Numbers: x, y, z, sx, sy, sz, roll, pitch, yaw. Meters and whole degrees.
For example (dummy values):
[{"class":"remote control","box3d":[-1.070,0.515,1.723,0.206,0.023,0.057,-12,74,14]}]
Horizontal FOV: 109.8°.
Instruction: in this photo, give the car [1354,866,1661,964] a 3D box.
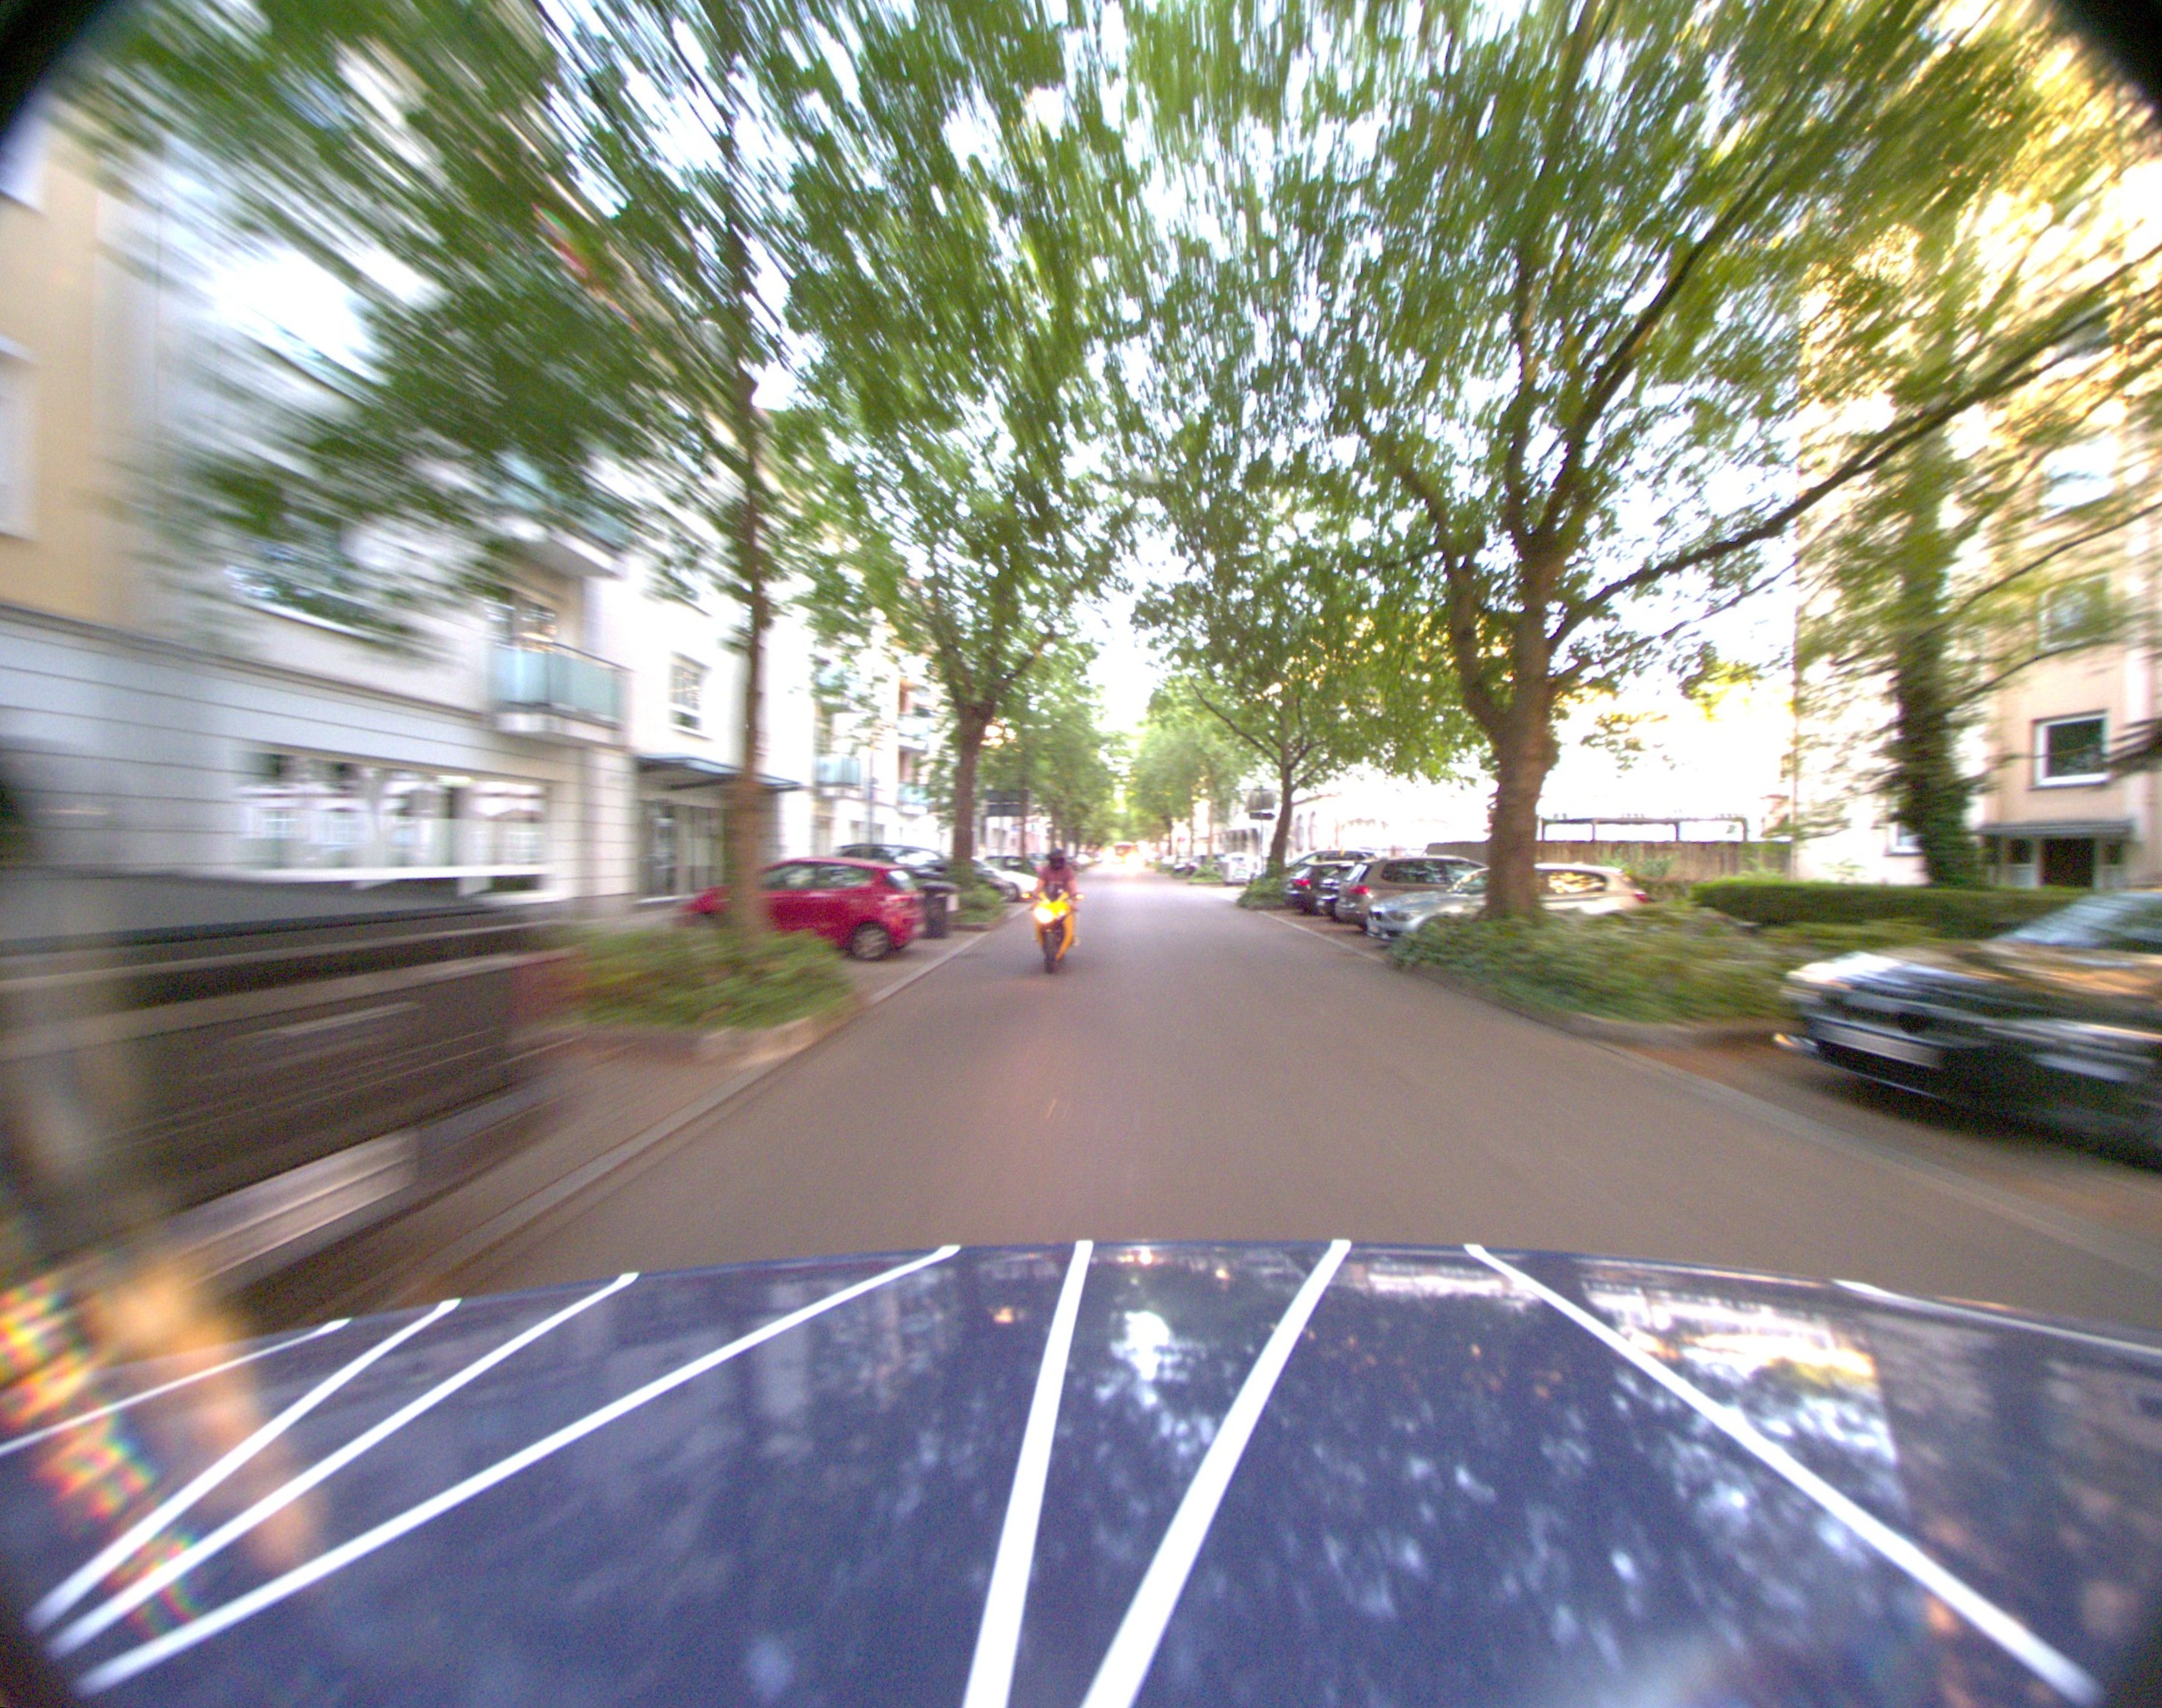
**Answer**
[{"class":"car","box3d":[6.935,0.964,12.659,4.110,1.371,1.747,-2,0,0]}]

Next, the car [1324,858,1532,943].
[{"class":"car","box3d":[6.915,0.889,15.408,3.413,1.600,1.761,0,1,0]}]

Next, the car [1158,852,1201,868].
[{"class":"car","box3d":[9.488,0.587,73.168,4.062,1.519,1.622,-1,0,6]}]

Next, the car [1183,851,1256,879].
[{"class":"car","box3d":[8.103,0.645,44.822,3.996,1.582,1.789,-1,0,2]}]

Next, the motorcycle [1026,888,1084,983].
[{"class":"motorcycle","box3d":[-0.339,1.102,10.857,0.736,1.115,2.108,0,0,0]}]

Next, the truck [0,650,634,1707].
[{"class":"truck","box3d":[-4.940,0.506,2.100,6.018,2.121,2.261,4,1,2]}]

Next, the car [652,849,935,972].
[{"class":"car","box3d":[-4.326,0.812,11.858,3.673,1.539,1.780,3,2,0]}]

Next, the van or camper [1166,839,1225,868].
[{"class":"van or camper","box3d":[9.737,-0.028,65.021,4.828,2.413,1.945,0,0,2]}]

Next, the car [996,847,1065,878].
[{"class":"car","box3d":[-2.997,0.517,45.487,3.871,1.657,1.926,2,0,2]}]

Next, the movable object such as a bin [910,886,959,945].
[{"class":"movable object such as a bin","box3d":[-2.749,1.154,14.315,0.776,1.061,0.589,0,1,1]}]

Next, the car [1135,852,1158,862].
[{"class":"car","box3d":[11.056,0.498,128.884,3.857,1.623,1.675,2,0,3]}]

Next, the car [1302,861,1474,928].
[{"class":"car","box3d":[7.185,0.924,18.036,3.413,1.497,1.664,0,1,0]}]

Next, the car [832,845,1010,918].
[{"class":"car","box3d":[-4.140,0.697,20.282,4.397,1.694,1.894,2,1,-6]}]

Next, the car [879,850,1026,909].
[{"class":"car","box3d":[-3.805,0.739,22.900,3.995,1.516,1.727,3,1,4]}]

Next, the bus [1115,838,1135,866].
[{"class":"bus","box3d":[6.519,-0.277,113.073,2.832,4.086,7.832,0,0,2]}]

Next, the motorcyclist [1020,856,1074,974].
[{"class":"motorcyclist","box3d":[-0.472,0.841,10.849,0.721,1.605,0.915,0,1,0]}]

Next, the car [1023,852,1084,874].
[{"class":"car","box3d":[-2.076,0.703,58.317,4.366,1.461,1.732,3,1,7]}]

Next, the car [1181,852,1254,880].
[{"class":"car","box3d":[8.004,0.677,44.821,3.997,1.579,1.828,-1,0,0]}]

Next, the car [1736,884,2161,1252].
[{"class":"car","box3d":[6.889,0.927,4.218,4.727,1.416,2.071,-1,0,0]}]

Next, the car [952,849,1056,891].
[{"class":"car","box3d":[-3.081,0.641,31.006,3.998,1.466,1.913,3,0,-2]}]

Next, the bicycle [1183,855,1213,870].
[{"class":"bicycle","box3d":[7.819,0.568,50.760,1.906,1.019,0.479,0,1,1]}]

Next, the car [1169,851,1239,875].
[{"class":"car","box3d":[8.532,0.624,52.843,4.547,1.673,1.621,0,0,-1]}]

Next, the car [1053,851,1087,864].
[{"class":"car","box3d":[-1.246,0.406,87.934,3.859,1.390,1.675,2,0,-1]}]

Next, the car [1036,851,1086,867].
[{"class":"car","box3d":[-1.898,0.474,73.249,4.593,1.461,1.696,2,0,4]}]

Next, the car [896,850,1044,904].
[{"class":"car","box3d":[-3.605,0.739,25.302,4.583,1.543,1.773,2,1,1]}]

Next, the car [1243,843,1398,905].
[{"class":"car","box3d":[7.696,0.635,24.756,4.429,1.881,2.000,-1,0,2]}]

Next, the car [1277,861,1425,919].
[{"class":"car","box3d":[7.130,0.927,20.283,3.413,1.434,1.594,0,1,0]}]
